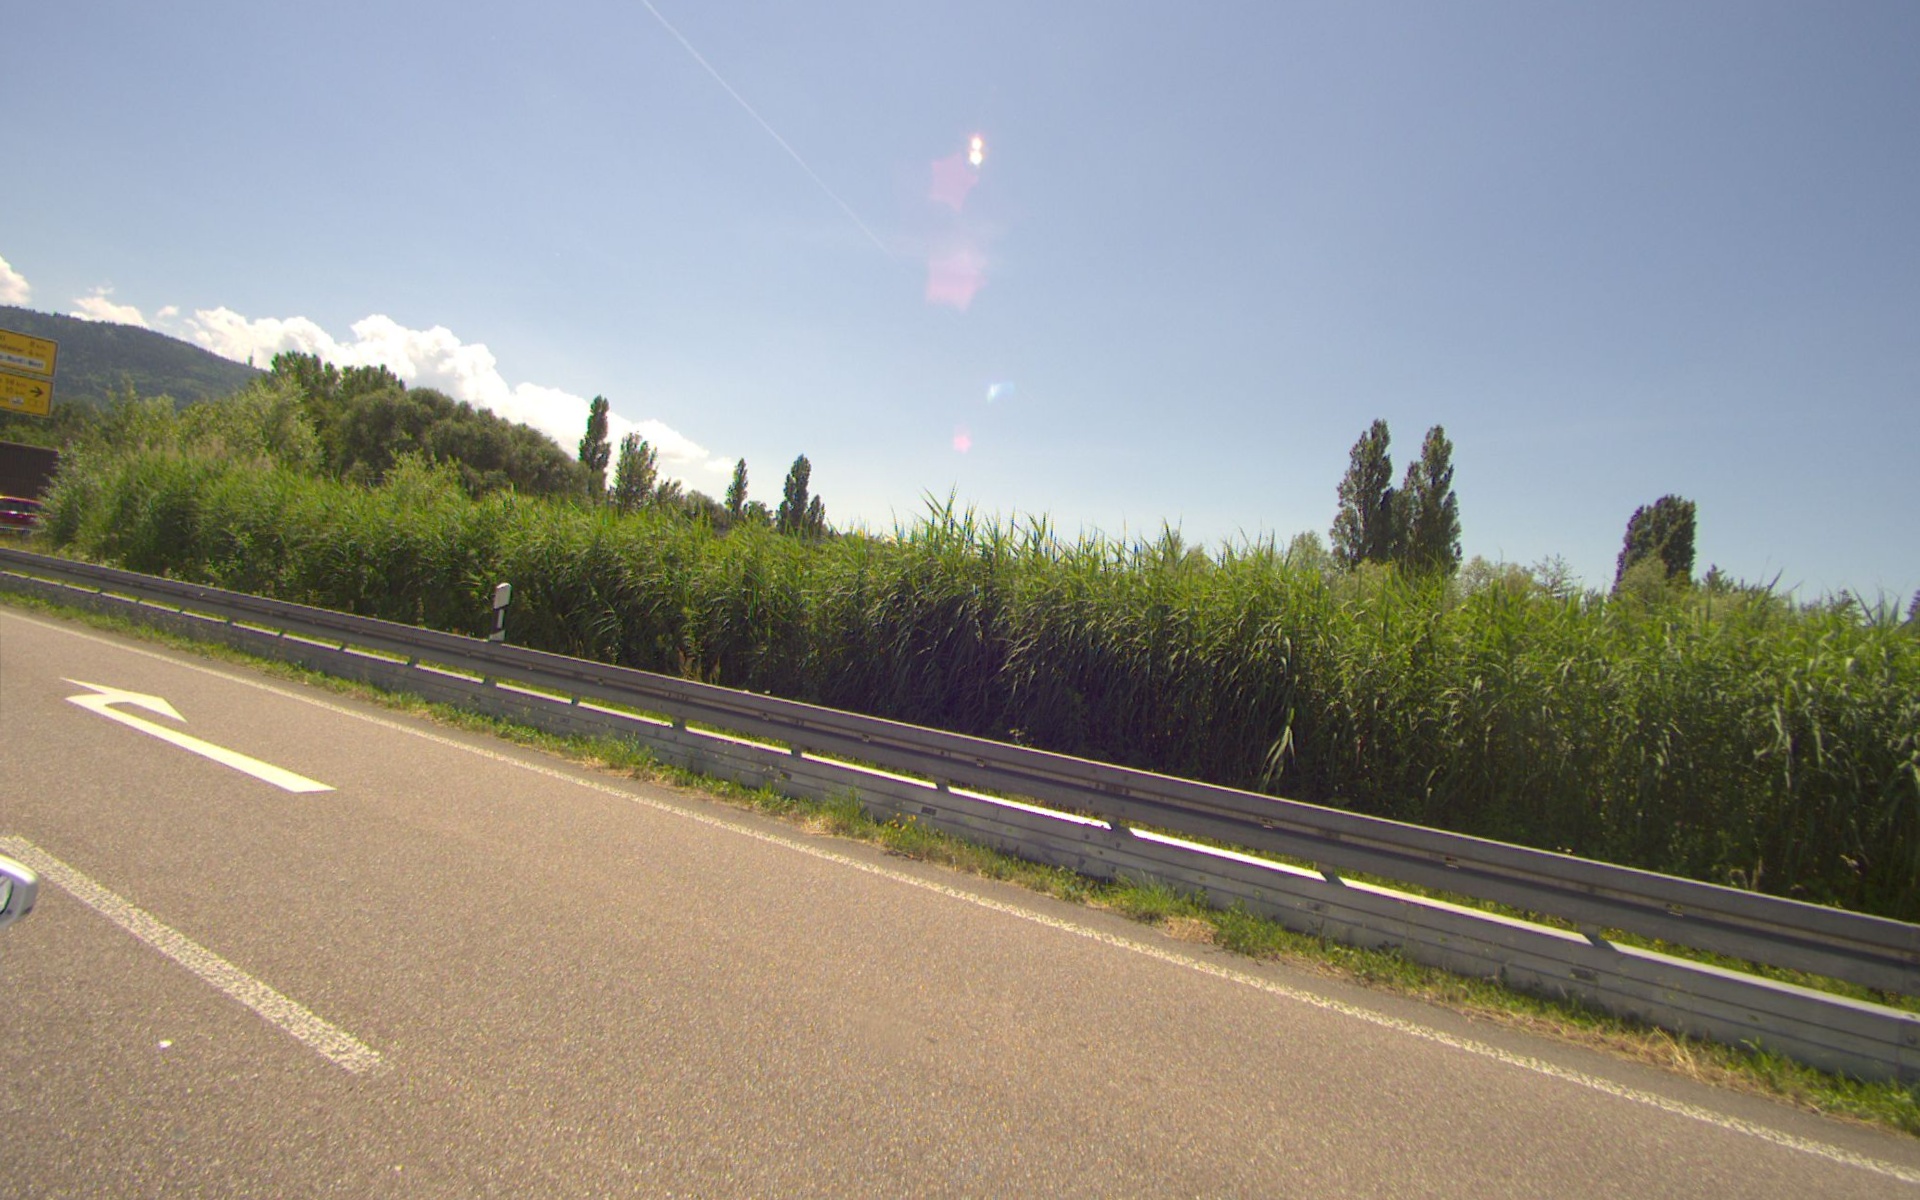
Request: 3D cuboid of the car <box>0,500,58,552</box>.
[{"bbox_3d":[-36.329,-2.954,36.898,1.966,1.676,4.320,7,-2,28],"label":"car"}]
